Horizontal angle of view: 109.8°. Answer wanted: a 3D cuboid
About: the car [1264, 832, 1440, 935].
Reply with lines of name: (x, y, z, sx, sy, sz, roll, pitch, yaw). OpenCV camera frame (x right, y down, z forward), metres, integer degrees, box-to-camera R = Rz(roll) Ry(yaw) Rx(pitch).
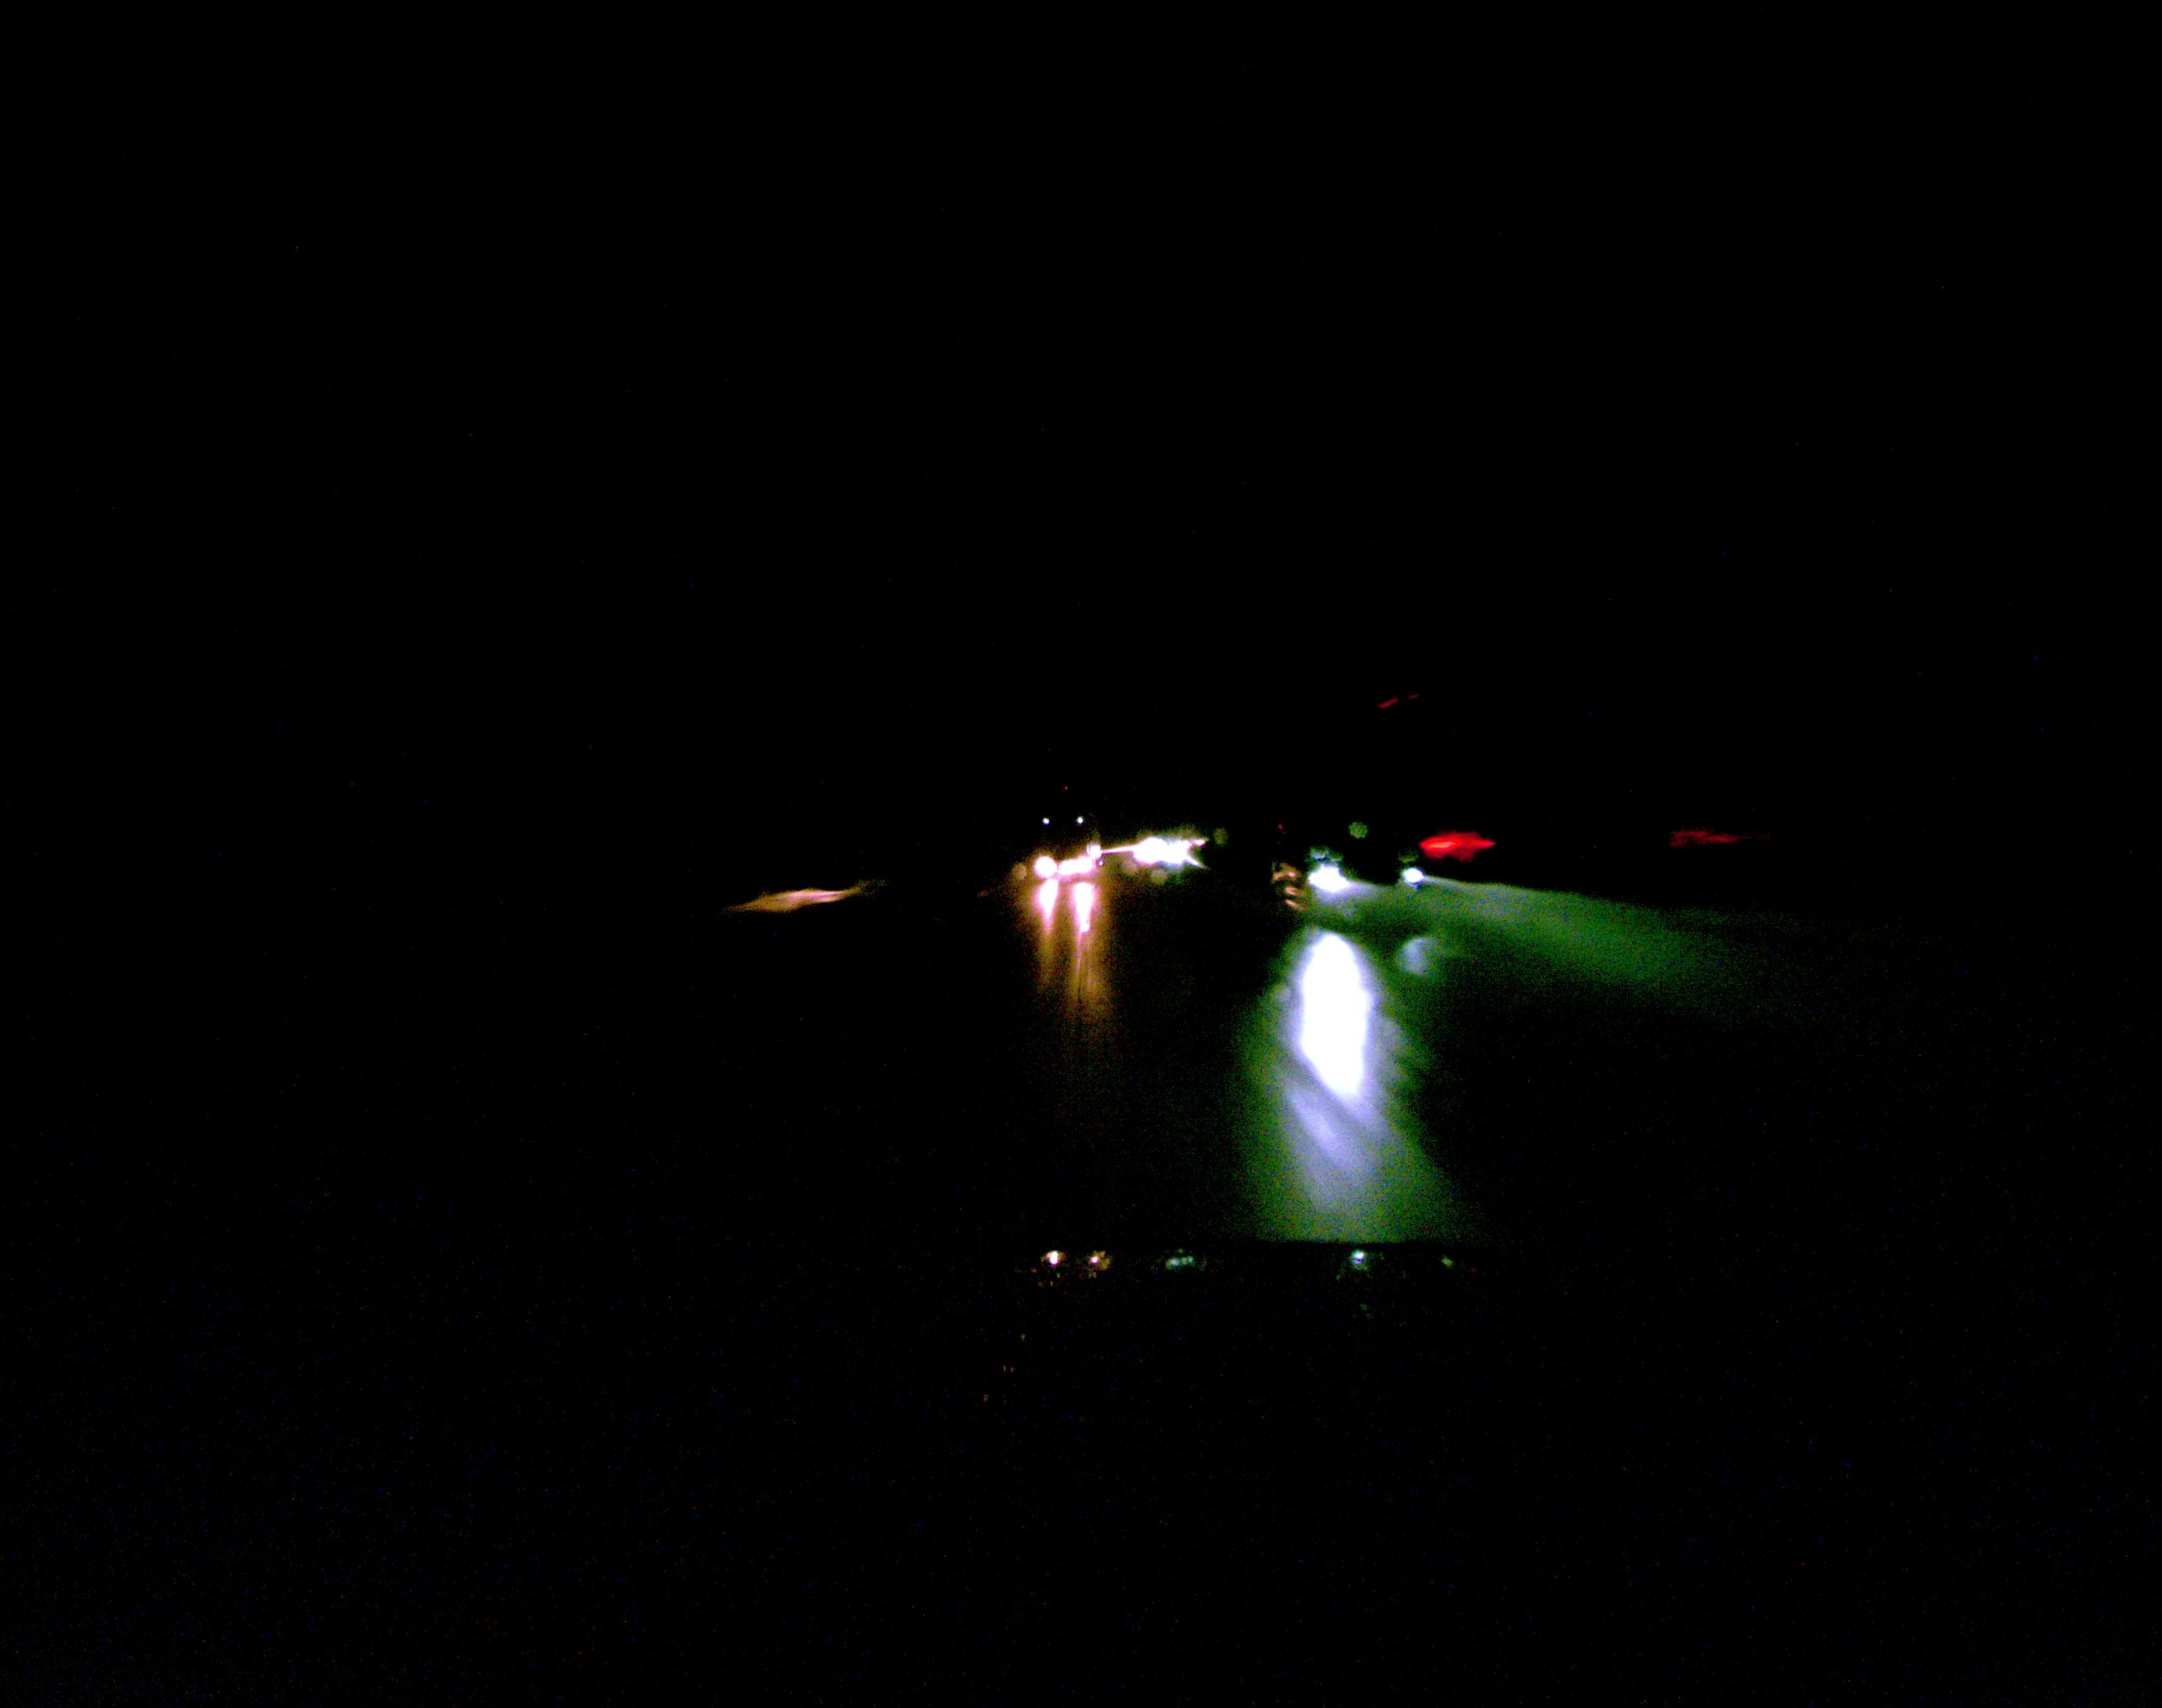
car: (5.792, 0.492, 17.126, 2.142, 1.874, 5.554, -2, 2, 2)

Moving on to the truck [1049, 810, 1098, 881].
truck: (-0.299, -0.699, 52.744, 2.502, 4.224, 13.640, -2, 2, 2)

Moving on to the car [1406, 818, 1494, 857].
car: (15.575, -0.684, 32.286, 1.746, 1.484, 3.999, -2, 1, 0)

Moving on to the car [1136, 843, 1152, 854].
car: (9.845, -0.812, 118.271, 1.997, 1.553, 4.648, -2, 2, 12)

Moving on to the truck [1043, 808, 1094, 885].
truck: (-0.644, -0.492, 45.152, 2.503, 4.224, 5.981, -2, 2, 3)

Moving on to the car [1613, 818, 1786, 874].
car: (18.563, -0.242, 23.084, 1.998, 1.484, 4.000, -2, 1, 1)
